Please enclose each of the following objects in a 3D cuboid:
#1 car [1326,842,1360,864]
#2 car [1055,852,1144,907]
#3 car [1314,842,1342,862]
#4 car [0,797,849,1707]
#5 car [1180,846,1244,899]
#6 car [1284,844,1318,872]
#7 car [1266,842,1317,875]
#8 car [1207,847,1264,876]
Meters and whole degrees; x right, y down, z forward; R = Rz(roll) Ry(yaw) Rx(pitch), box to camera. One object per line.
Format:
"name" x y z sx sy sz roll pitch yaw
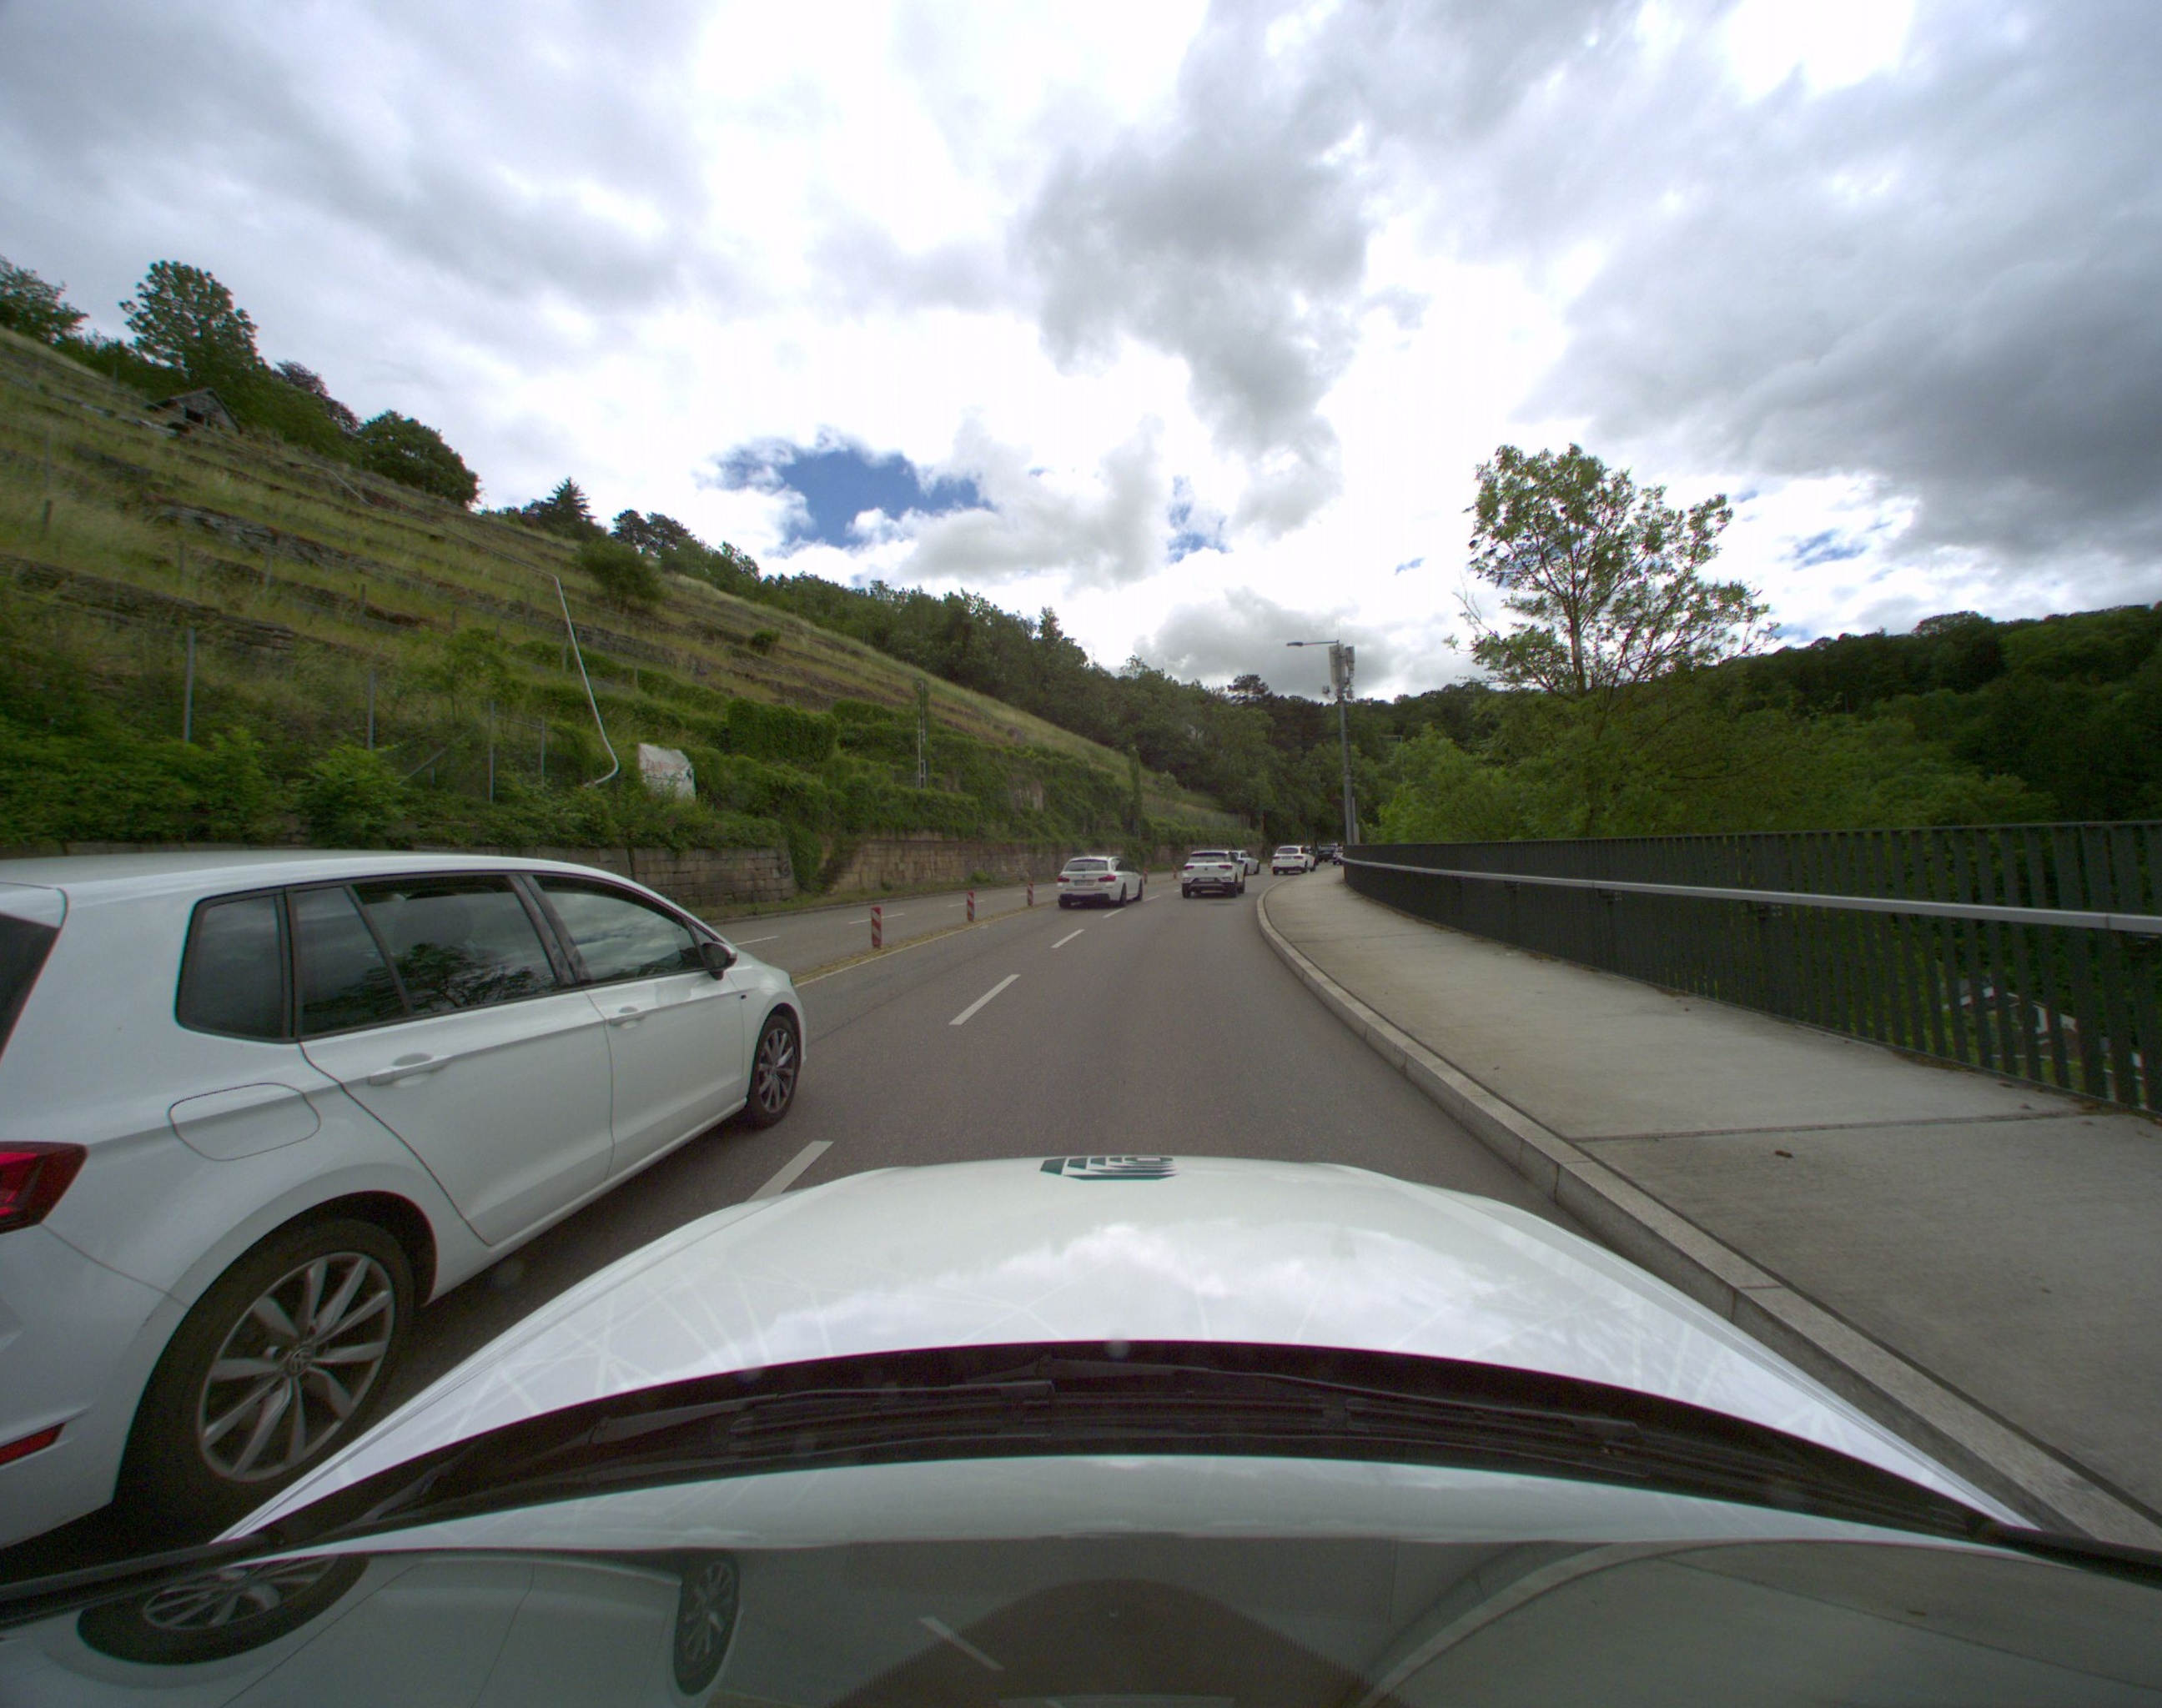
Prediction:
"car" 20.947 -0.078 65.014 1.975 1.717 4.023 -2 0 25
"car" 0.652 0.713 24.058 1.816 1.460 4.500 0 -1 12
"car" 22.411 -0.190 73.838 1.976 1.717 4.022 -2 0 23
"car" -2.599 0.714 3.291 1.813 1.580 4.360 -1 0 3
"car" 4.552 0.581 27.873 1.815 1.605 4.015 -1 1 14
"car" 17.461 0.317 64.574 1.976 2.014 4.021 -5 -2 21
"car" 12.101 0.233 46.646 1.975 1.718 4.138 -3 -1 26
"car" 8.942 0.400 46.777 1.975 1.503 4.695 -3 -1 27
